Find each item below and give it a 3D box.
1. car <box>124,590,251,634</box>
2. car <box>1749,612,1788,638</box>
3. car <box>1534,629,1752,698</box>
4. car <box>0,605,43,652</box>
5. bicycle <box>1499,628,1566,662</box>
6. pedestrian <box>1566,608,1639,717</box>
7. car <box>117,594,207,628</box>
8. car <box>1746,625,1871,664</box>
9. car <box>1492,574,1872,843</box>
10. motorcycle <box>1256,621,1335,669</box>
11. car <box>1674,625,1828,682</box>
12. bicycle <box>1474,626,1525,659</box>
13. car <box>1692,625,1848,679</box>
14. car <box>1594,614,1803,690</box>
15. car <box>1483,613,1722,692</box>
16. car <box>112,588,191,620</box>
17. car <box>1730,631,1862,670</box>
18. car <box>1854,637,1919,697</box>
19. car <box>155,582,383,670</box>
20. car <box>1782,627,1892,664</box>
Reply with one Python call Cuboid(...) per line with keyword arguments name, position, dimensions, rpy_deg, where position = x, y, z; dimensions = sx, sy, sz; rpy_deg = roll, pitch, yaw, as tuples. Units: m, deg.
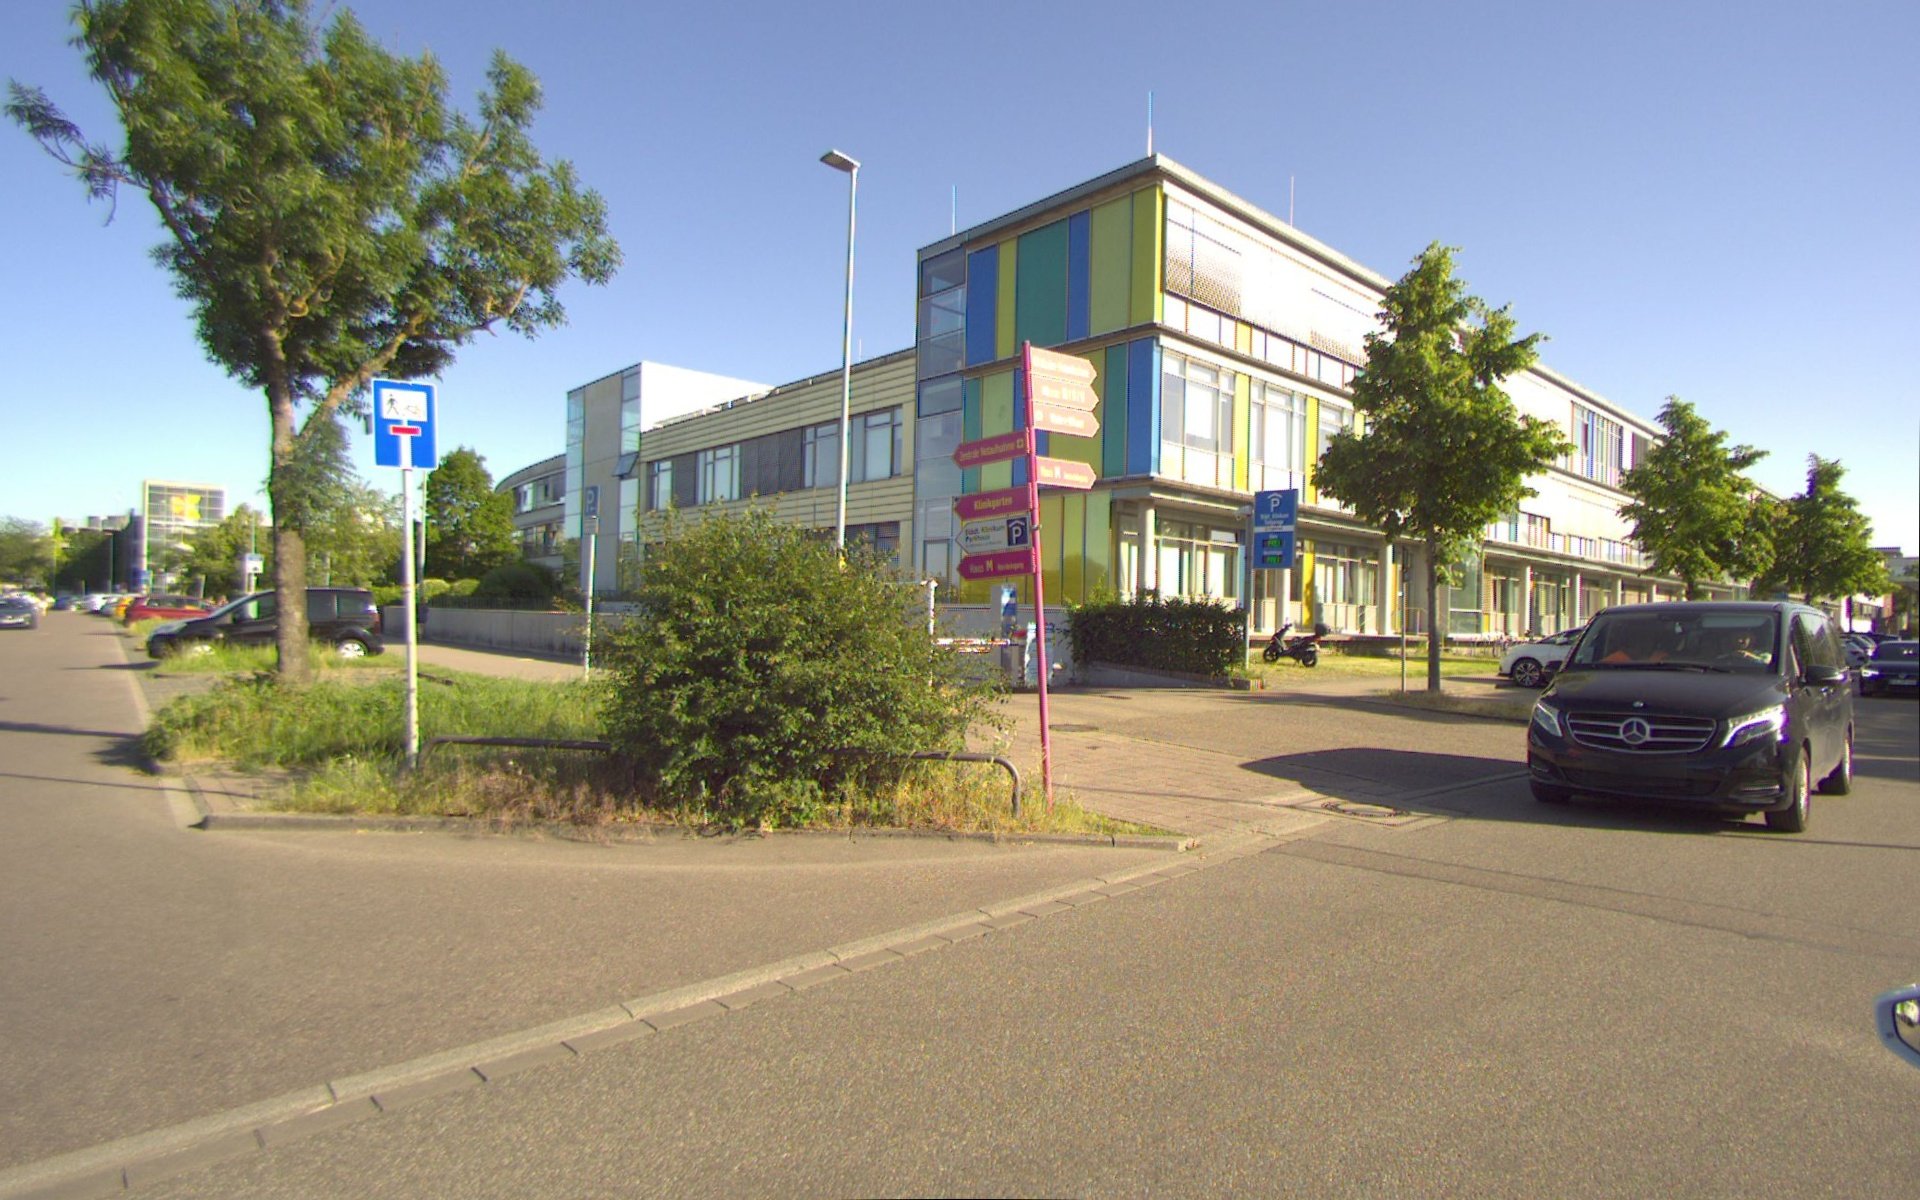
Cuboid(name="car", position=(-31.723, 0.517, 41.293), dimensions=(3.971, 1.724, 1.975), rpy_deg=(2, -1, -42))
Cuboid(name="car", position=(68.208, 2.122, 84.745), dimensions=(3.972, 2.040, 1.975), rpy_deg=(4, -2, -43))
Cuboid(name="car", position=(17.699, 1.594, 26.190), dimensions=(1.814, 1.521, 4.394), rpy_deg=(2, -1, -41))
Cuboid(name="car", position=(-43.583, 1.263, 46.151), dimensions=(1.985, 2.040, 3.951), rpy_deg=(2, -1, -41))
Cuboid(name="bicycle", position=(21.456, 1.697, 37.652), dimensions=(2.338, 1.169, 0.867), rpy_deg=(3, 0, -21))
Cuboid(name="pedestrian", position=(11.640, 1.111, 18.200), dimensions=(0.819, 1.867, 0.850), rpy_deg=(2, 1, -40))
Cuboid(name="car", position=(-50.671, 0.703, 63.844), dimensions=(4.361, 2.040, 1.975), rpy_deg=(2, -1, -42))
Cuboid(name="car", position=(38.308, 1.994, 45.428), dimensions=(4.170, 1.481, 1.860), rpy_deg=(3, 1, 45))
Cuboid(name="car", position=(7.092, 0.889, 9.595), dimensions=(5.218, 1.892, 1.937), rpy_deg=(3, -4, -43))
Cuboid(name="motorcycle", position=(9.240, 1.223, 27.697), dimensions=(0.496, 1.165, 2.023), rpy_deg=(1, 2, -44))
Cuboid(name="car", position=(27.113, 1.781, 34.481), dimensions=(3.945, 1.628, 1.860), rpy_deg=(3, 1, 45))
Cuboid(name="bicycle", position=(20.982, 1.663, 39.071), dimensions=(1.971, 1.169, 0.864), rpy_deg=(3, 0, -33))
Cuboid(name="car", position=(29.312, 1.818, 36.420), dimensions=(4.202, 1.633, 2.035), rpy_deg=(3, 1, 45))
Cuboid(name="car", position=(21.878, 1.471, 29.930), dimensions=(1.813, 1.890, 4.700), rpy_deg=(1, 1, -41))
Cuboid(name="car", position=(15.581, 1.219, 24.569), dimensions=(1.851, 1.673, 4.576), rpy_deg=(2, -1, -38))
Cuboid(name="car", position=(-53.608, 0.265, 66.653), dimensions=(3.971, 2.040, 1.975), rpy_deg=(2, -1, -42))
Cuboid(name="car", position=(33.487, 1.994, 40.311), dimensions=(3.946, 1.377, 1.732), rpy_deg=(0, -1, 45))
Cuboid(name="car", position=(24.892, 1.730, 26.540), dimensions=(1.686, 1.470, 4.061), rpy_deg=(-1, -2, 44))
Cuboid(name="car", position=(-15.337, 0.587, 22.479), dimensions=(4.065, 1.813, 1.495), rpy_deg=(2, -1, -37))
Cuboid(name="car", position=(45.538, 2.349, 52.201), dimensions=(4.170, 1.624, 1.860), rpy_deg=(3, 1, 45))
